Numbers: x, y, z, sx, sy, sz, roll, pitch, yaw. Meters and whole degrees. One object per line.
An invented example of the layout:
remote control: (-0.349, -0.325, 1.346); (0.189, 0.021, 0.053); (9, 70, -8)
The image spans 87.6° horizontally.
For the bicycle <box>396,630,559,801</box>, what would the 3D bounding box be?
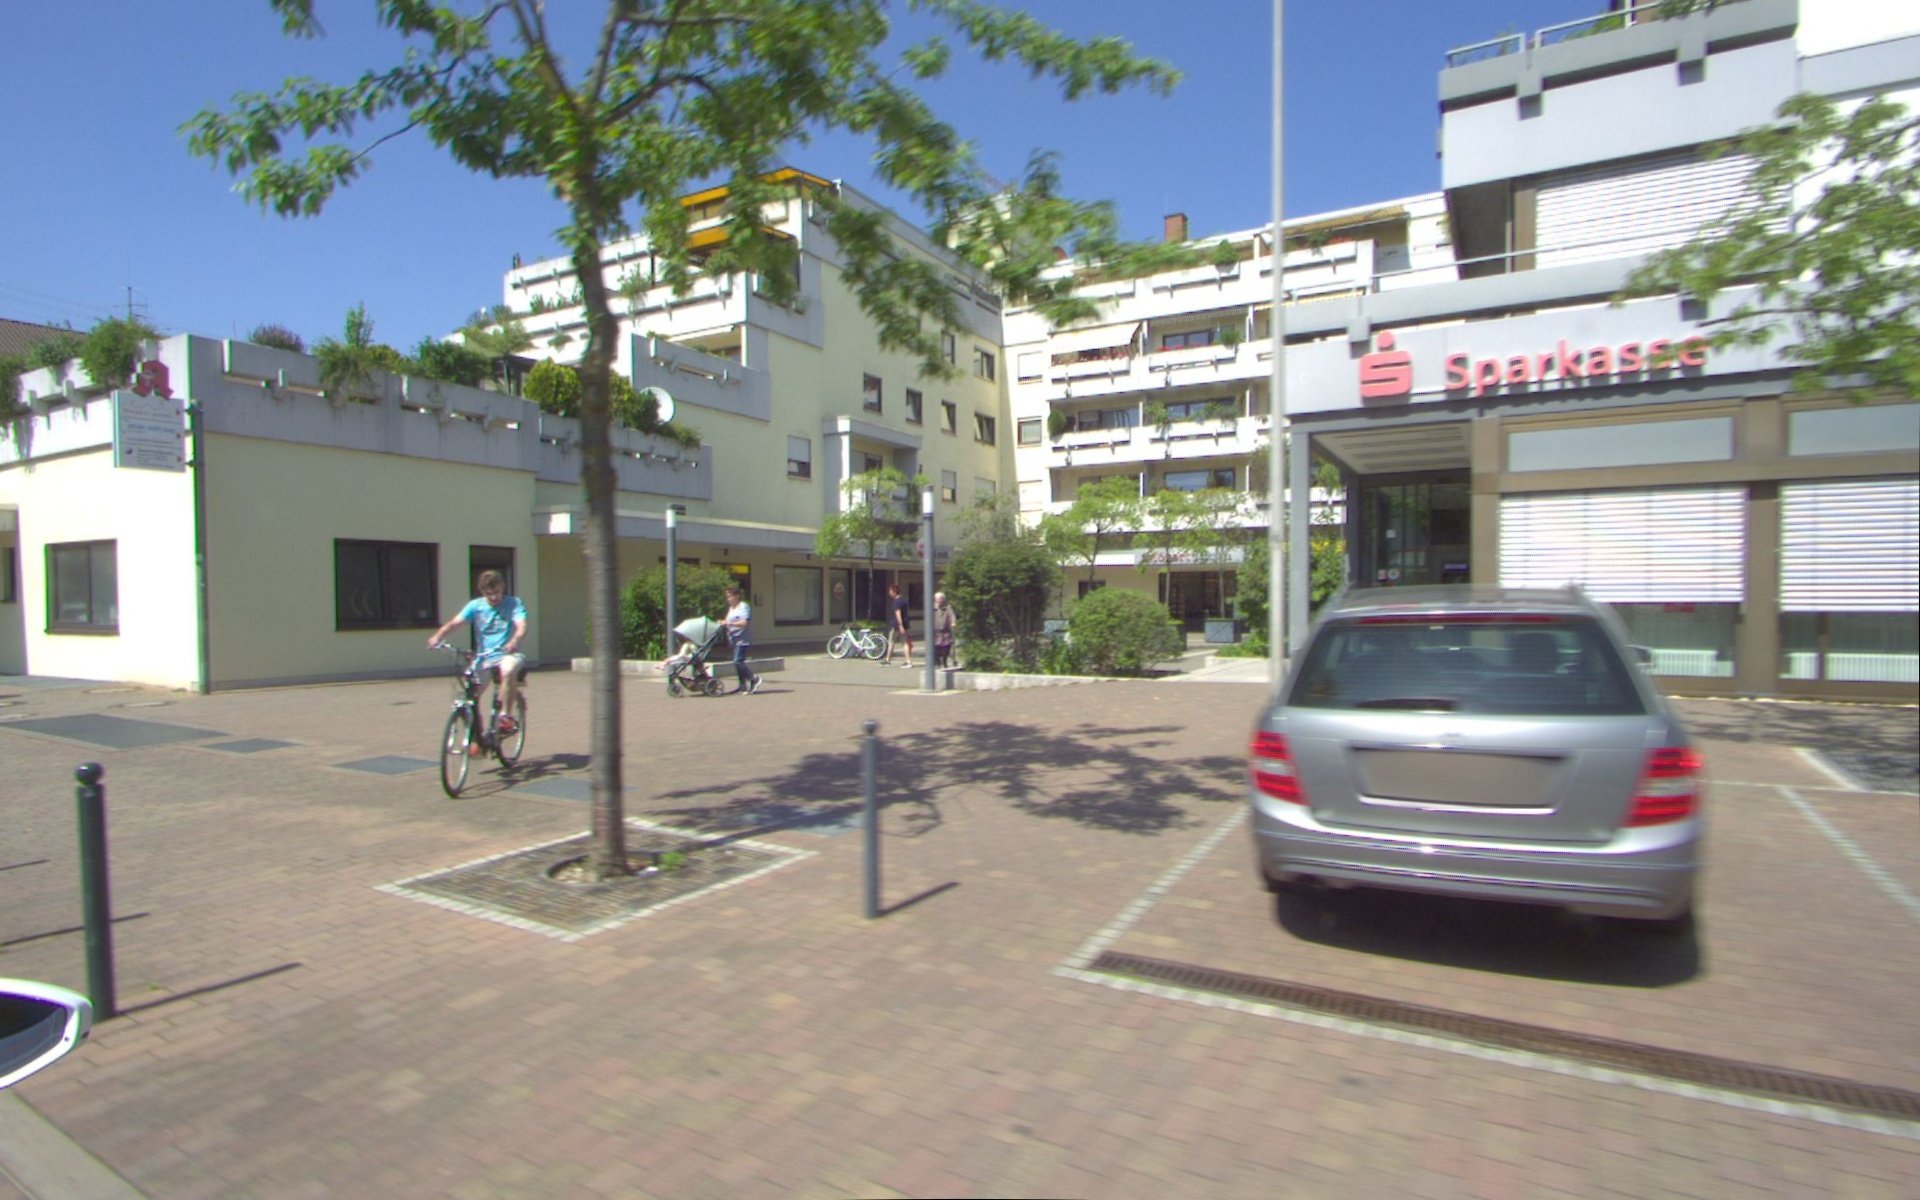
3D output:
bicycle: (-3.887, 0.869, 8.243); (0.663, 1.124, 1.894); (-1, 2, -9)

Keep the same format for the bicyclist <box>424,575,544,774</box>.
bicyclist: (-3.892, 0.573, 8.246); (0.658, 1.548, 0.760); (-1, 2, -9)

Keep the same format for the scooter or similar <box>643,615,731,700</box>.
scooter or similar: (-3.820, 0.787, 14.031); (1.031, 1.121, 0.623); (-1, 1, -37)

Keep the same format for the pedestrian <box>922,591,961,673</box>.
pedestrian: (-0.340, 0.601, 19.170); (0.656, 1.517, 0.811); (0, 0, 5)

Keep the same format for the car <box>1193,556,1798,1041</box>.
car: (2.800, 0.563, 5.613); (1.886, 1.533, 4.571); (-1, 2, 27)

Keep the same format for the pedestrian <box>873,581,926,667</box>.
pedestrian: (-1.263, 0.494, 21.075); (0.887, 1.760, 0.702); (0, 1, 23)

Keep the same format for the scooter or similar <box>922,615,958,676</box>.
scooter or similar: (-0.363, 0.822, 18.370); (0.579, 1.089, 0.805); (0, 1, 5)

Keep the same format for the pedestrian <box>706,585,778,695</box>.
pedestrian: (-3.164, 0.568, 14.521); (0.792, 1.541, 0.700); (0, 1, -38)
